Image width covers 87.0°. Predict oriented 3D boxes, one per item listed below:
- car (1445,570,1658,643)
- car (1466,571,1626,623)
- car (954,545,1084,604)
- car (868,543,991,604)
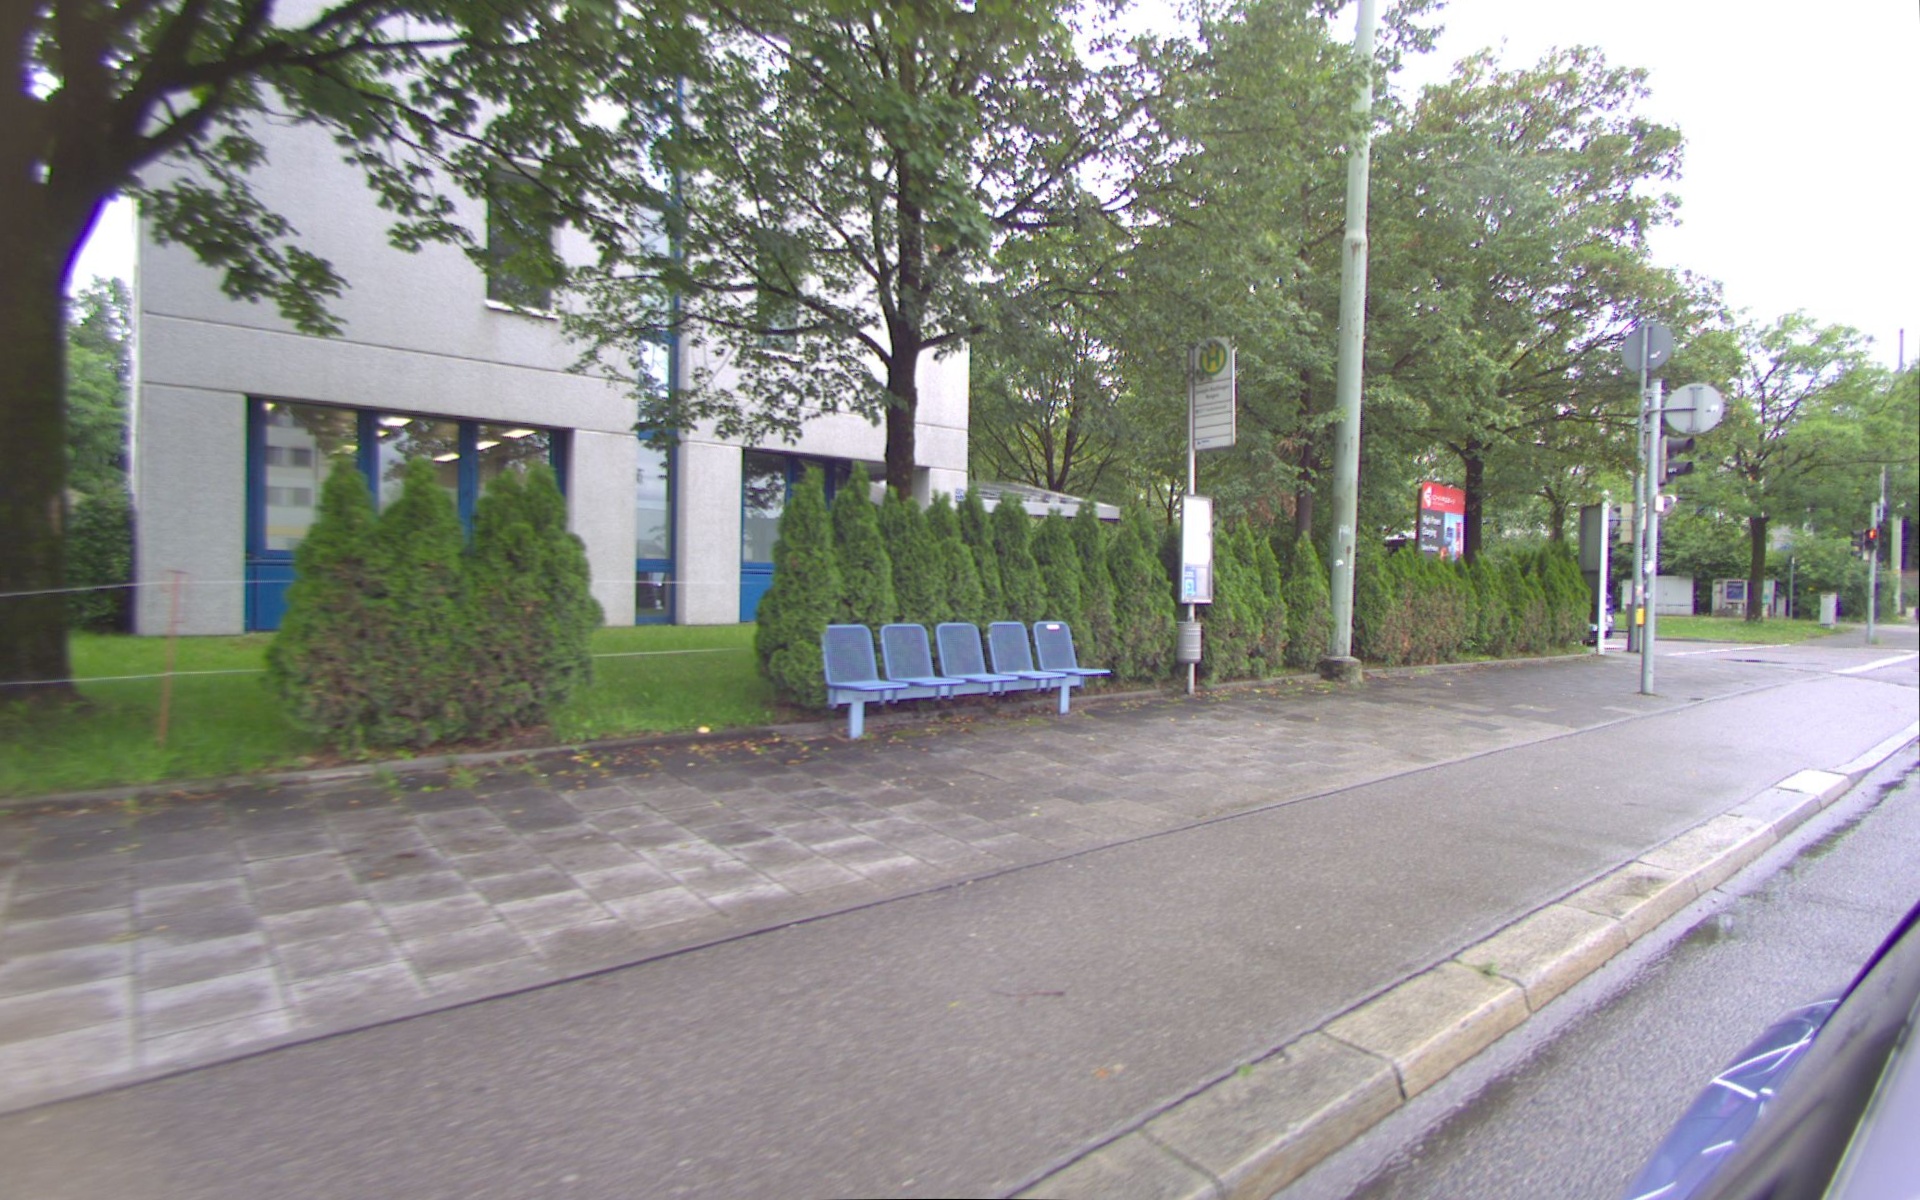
[{"bbox_3d":[15.475,0.119,26.839,1.958,1.744,4.801,1,1,-17],"label":"car"},{"bbox_3d":[19.706,-0.149,34.223,1.961,1.594,4.287,-2,2,-31],"label":"car"},{"bbox_3d":[1.485,-0.728,27.339,1.830,1.436,4.186,1,3,-23],"label":"car"},{"bbox_3d":[-0.907,-0.743,26.681,1.830,1.436,4.186,1,3,-23],"label":"car"}]
